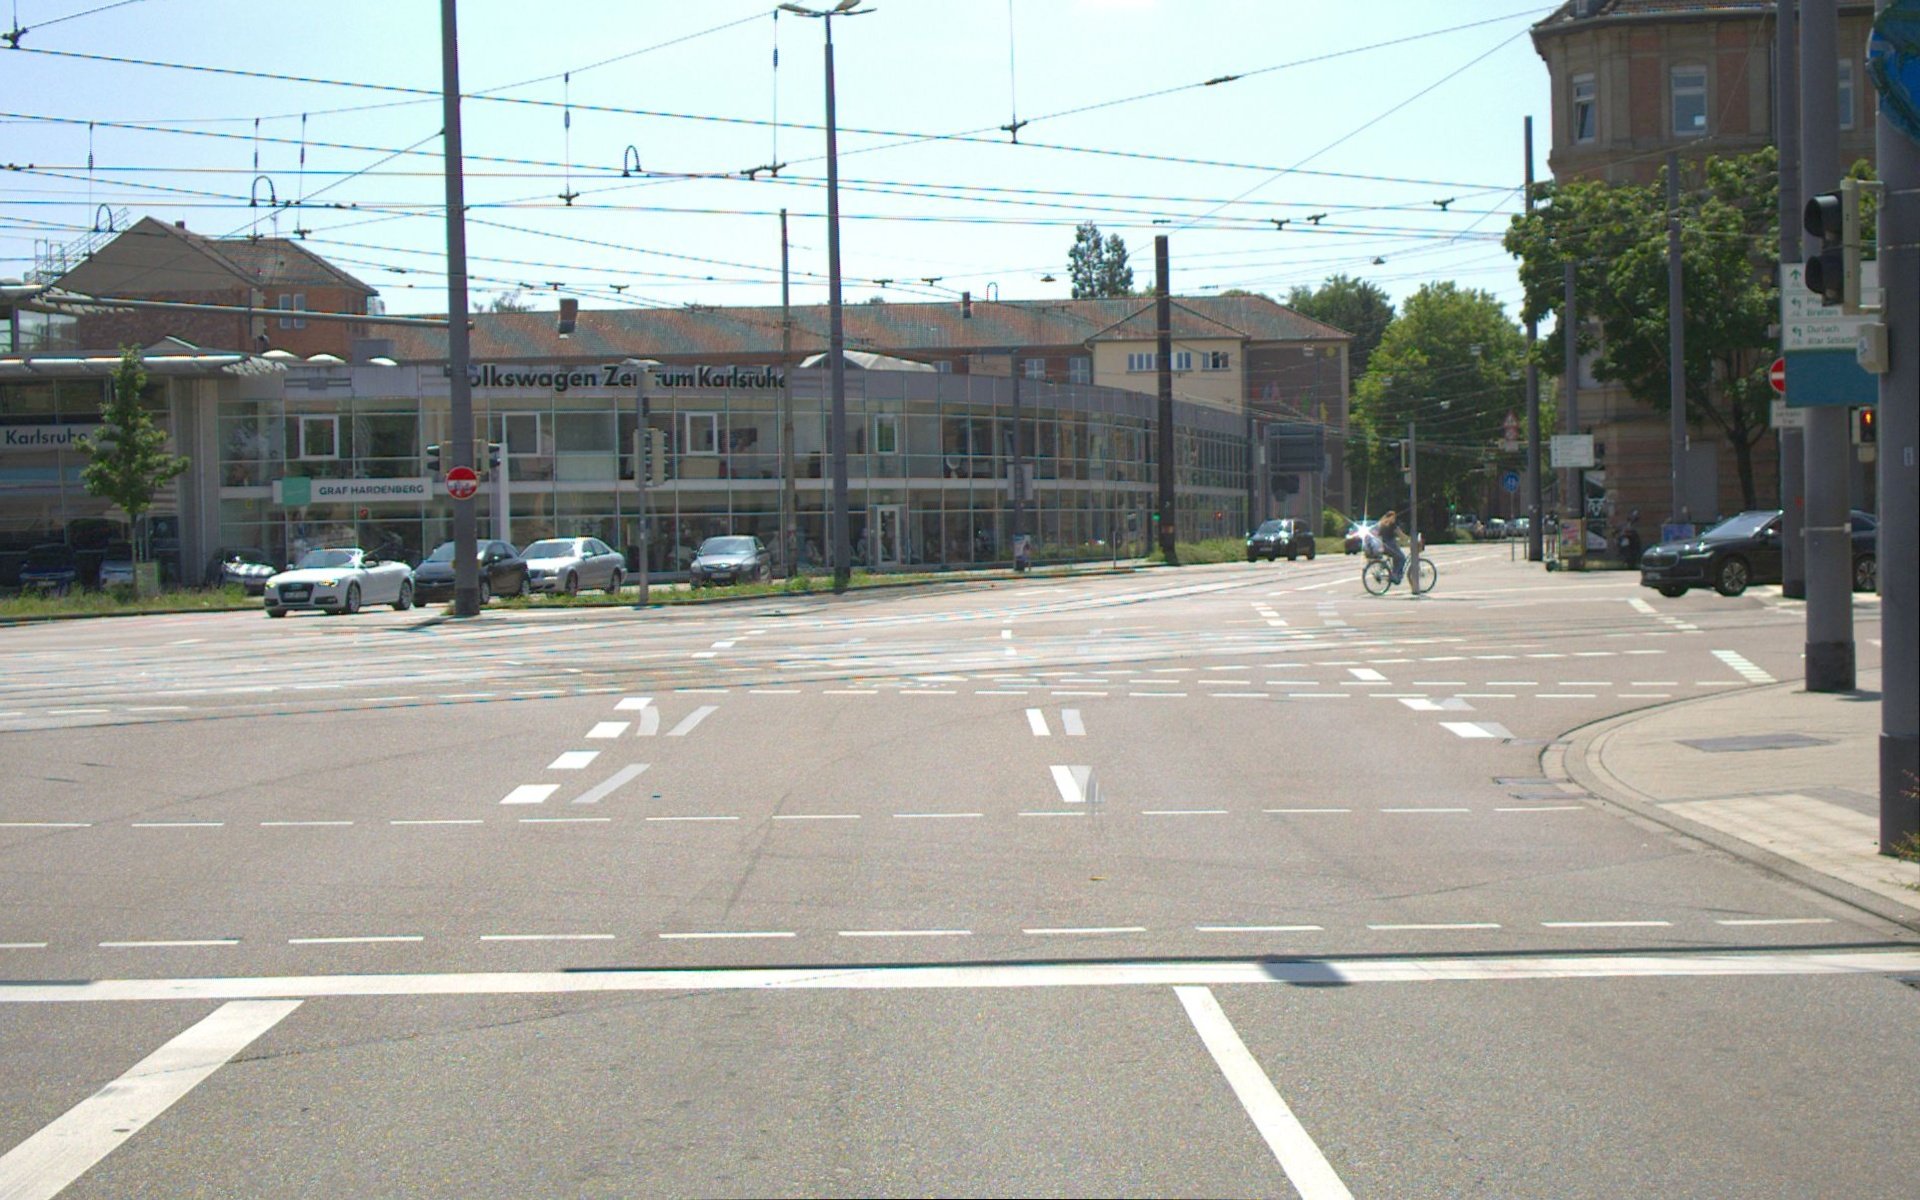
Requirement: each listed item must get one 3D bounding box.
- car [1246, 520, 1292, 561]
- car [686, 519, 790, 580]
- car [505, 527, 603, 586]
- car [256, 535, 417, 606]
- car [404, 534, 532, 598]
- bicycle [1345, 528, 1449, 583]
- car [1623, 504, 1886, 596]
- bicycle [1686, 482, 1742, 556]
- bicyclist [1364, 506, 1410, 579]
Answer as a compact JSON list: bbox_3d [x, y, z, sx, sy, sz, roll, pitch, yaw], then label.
[{"bbox_3d":[12.133,-2.349,134.857,1.531,1.454,3.551,0,3,10],"label":"car"},{"bbox_3d":[-5.737,-1.322,89.276,1.572,1.422,3.611,1,3,16],"label":"car"},{"bbox_3d":[-9.780,-1.071,82.946,1.432,1.281,3.260,0,3,11],"label":"car"},{"bbox_3d":[-12.801,-0.630,70.853,1.620,1.385,4.121,-1,1,15],"label":"car"},{"bbox_3d":[-10.979,-0.774,76.913,1.539,1.273,3.537,1,3,15],"label":"car"},{"bbox_3d":[9.104,-0.932,71.547,2.160,1.103,0.457,-1,3,-19],"label":"bicycle"},{"bbox_3d":[13.536,-0.870,58.567,4.100,1.446,1.698,-1,3,-21],"label":"car"},{"bbox_3d":[19.078,-2.067,87.063,0.612,1.782,3.182,0,3,-1],"label":"bicycle"},{"bbox_3d":[8.881,-1.200,71.474,0.731,1.474,0.656,-1,3,-20],"label":"bicyclist"}]
